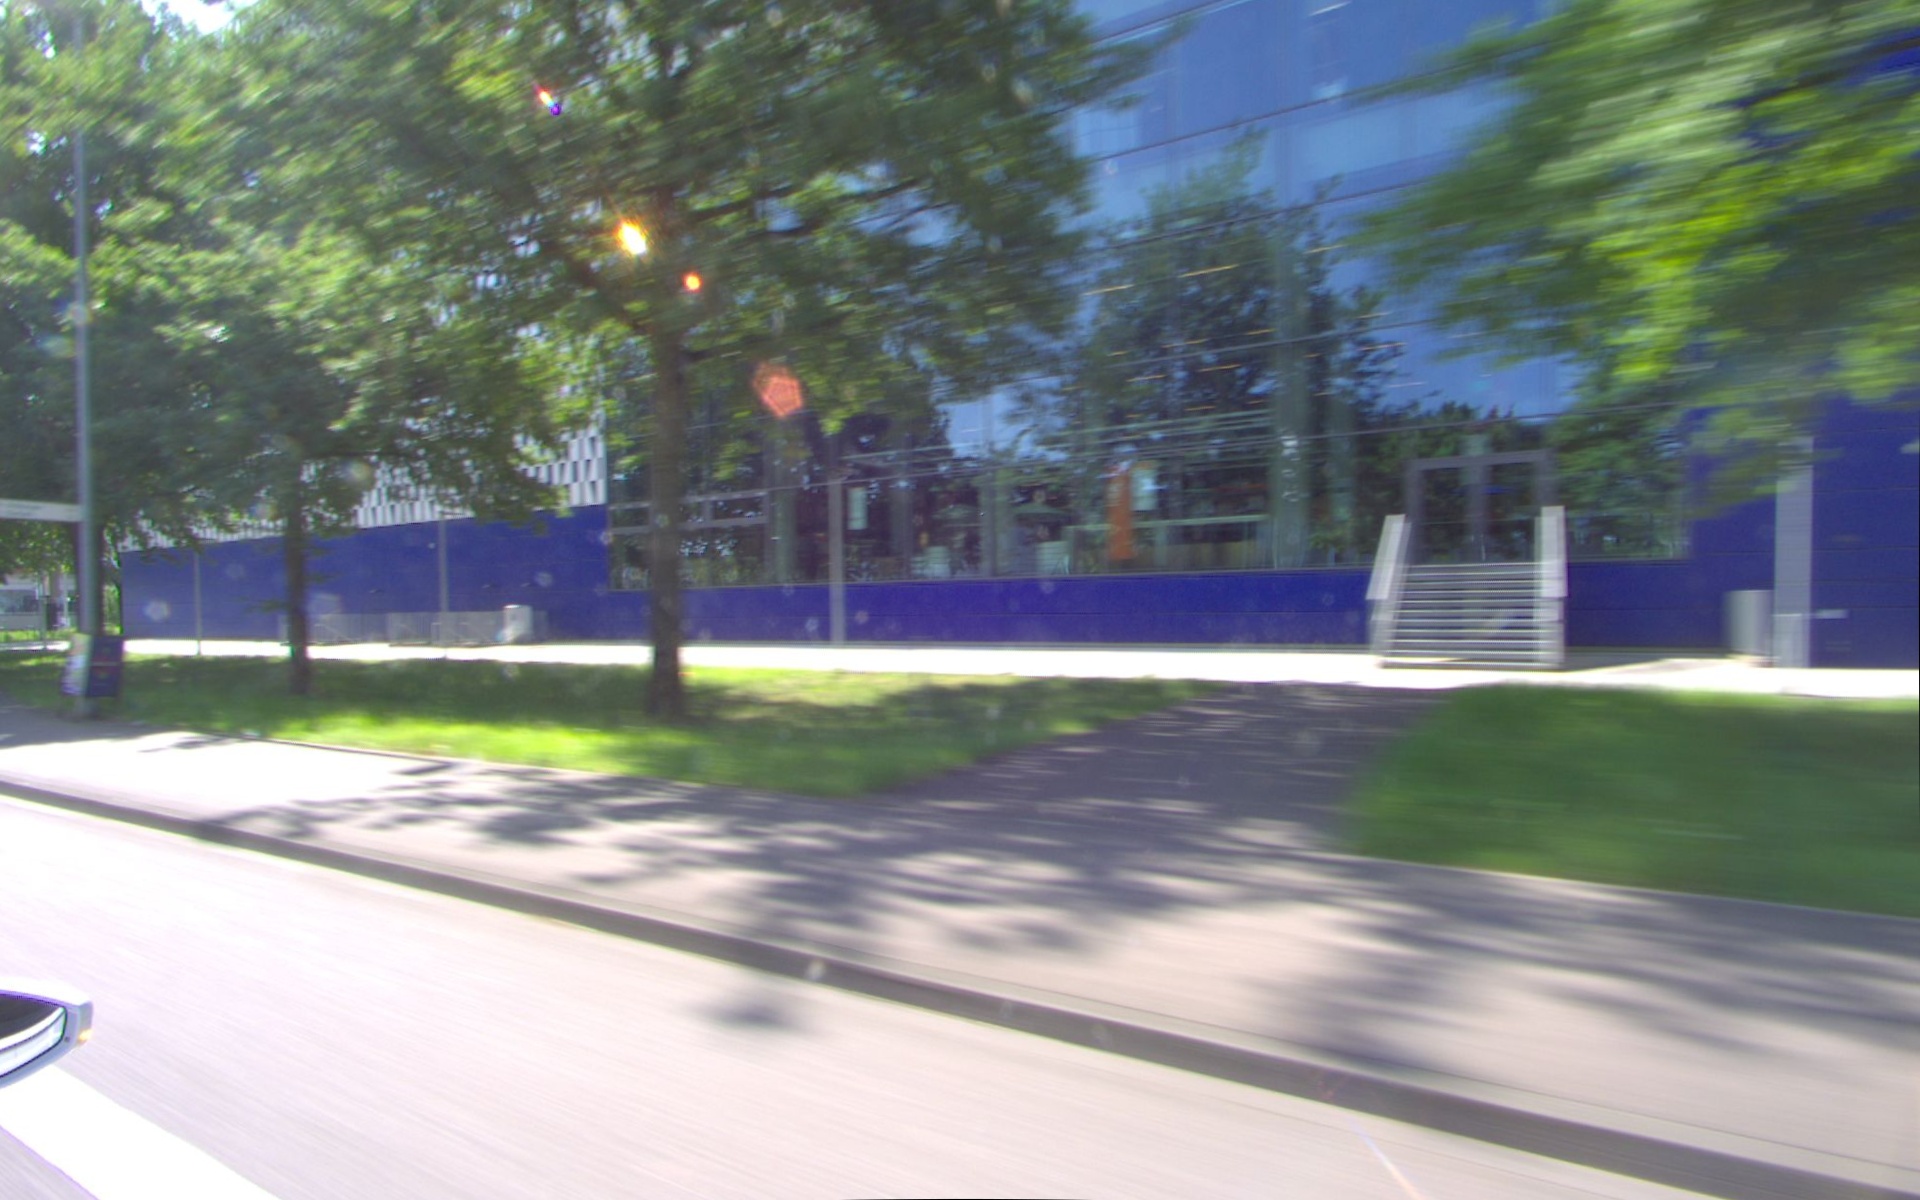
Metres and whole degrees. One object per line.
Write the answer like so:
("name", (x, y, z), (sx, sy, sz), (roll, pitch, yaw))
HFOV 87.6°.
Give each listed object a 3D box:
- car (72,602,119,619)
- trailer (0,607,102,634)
("car", (-109.213, 1.305, 126.535), (1.970, 2.039, 3.984), (1, -2, 30))
("trailer", (-91.266, 1.977, 97.324), (1.972, 2.501, 11.848), (1, -2, 33))
